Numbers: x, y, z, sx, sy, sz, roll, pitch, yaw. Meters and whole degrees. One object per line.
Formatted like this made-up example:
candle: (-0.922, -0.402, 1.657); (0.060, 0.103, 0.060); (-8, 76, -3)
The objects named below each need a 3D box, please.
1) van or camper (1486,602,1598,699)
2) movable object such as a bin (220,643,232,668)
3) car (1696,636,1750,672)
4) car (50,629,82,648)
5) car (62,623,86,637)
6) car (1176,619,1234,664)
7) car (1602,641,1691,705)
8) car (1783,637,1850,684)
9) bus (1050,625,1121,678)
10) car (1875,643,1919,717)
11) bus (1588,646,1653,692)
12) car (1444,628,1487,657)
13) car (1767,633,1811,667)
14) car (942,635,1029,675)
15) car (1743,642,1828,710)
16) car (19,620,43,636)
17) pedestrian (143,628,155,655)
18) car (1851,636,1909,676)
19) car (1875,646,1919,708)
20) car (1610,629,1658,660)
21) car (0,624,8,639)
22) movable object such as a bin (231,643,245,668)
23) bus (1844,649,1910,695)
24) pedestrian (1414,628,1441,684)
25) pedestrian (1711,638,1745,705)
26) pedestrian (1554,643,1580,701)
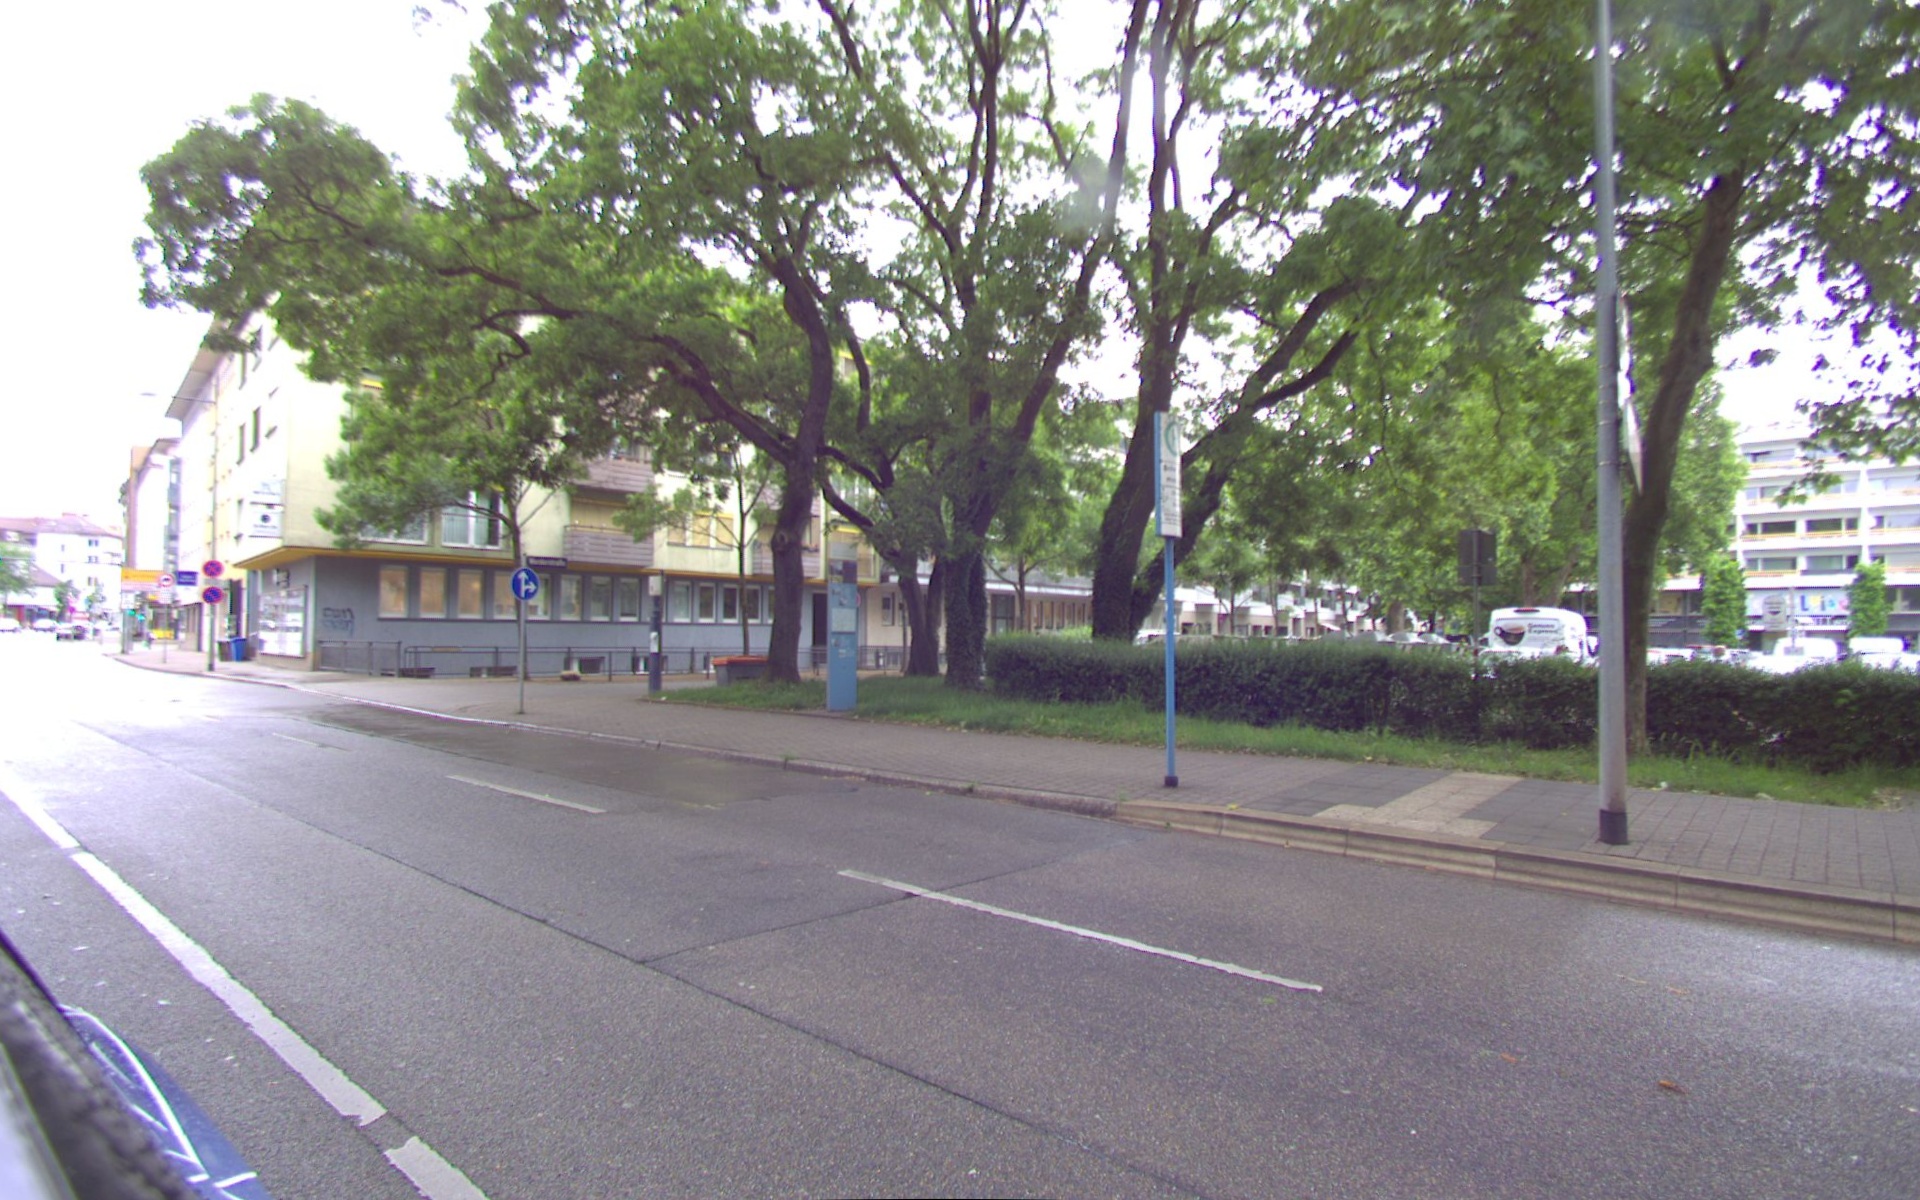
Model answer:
van or camper: (16.850, 1.441, 29.210); (2.097, 2.556, 4.367); (-1, -3, 40)
movable object such as a bin: (-30.237, 2.277, 41.673); (0.333, 1.037, 0.354); (3, -4, -42)
car: (35.724, 2.483, 47.362); (1.837, 1.435, 3.780); (-1, 0, 39)
car: (-82.279, 3.564, 93.141); (4.002, 1.730, 1.863); (-2, -4, 45)
car: (-109.513, 3.663, 125.094); (4.002, 1.670, 1.842); (-2, -4, 45)
car: (11.679, 1.970, 48.094); (1.988, 2.029, 3.967); (0, -3, 24)
car: (16.737, 1.744, 24.619); (1.391, 1.446, 3.227); (-2, -4, 41)
car: (28.178, 1.962, 33.351); (1.604, 1.439, 3.275); (-1, -3, 40)
bus: (4.841, 1.964, 38.687); (1.703, 1.939, 3.697); (0, -3, 24)
car: (19.933, 1.633, 20.943); (1.391, 1.446, 3.227); (-2, -4, 41)
bus: (24.160, 2.490, 36.972); (1.604, 1.551, 3.385); (-1, -3, 40)
car: (27.220, 2.288, 54.497); (1.428, 1.439, 2.926); (-2, -1, 40)
car: (41.989, 2.499, 51.300); (1.639, 1.536, 3.161); (-1, 0, 38)
car: (1.027, 2.151, 39.364); (1.571, 1.500, 3.519); (-1, -4, 39)
car: (19.242, 1.730, 23.564); (1.391, 1.446, 3.227); (-2, -4, 41)
car: (-112.890, 3.429, 122.970); (4.002, 1.866, 1.971); (-2, -4, 45)
pedestrian: (-56.399, 2.911, 70.373); (0.586, 1.858, 0.565); (3, -4, -42)
car: (40.244, 2.424, 44.318); (1.639, 1.536, 3.161); (-1, 0, 38)
car: (23.420, 1.874, 24.805); (1.391, 1.446, 3.227); (-2, -4, 41)
car: (32.469, 2.155, 48.729); (1.604, 1.439, 3.275); (-1, -3, 40)
car: (-107.560, 3.472, 112.760); (4.002, 1.653, 1.971); (-2, -4, 45)
movable object such as a bin: (-29.870, 2.283, 41.884); (0.409, 1.037, 0.354); (3, -4, -42)
bus: (33.161, 2.572, 36.656); (1.604, 1.551, 3.385); (-1, -3, 40)
pedestrian: (10.483, 1.252, 22.699); (0.484, 1.222, 0.433); (-1, 0, 34)
pedestrian: (14.526, 1.345, 19.142); (0.465, 1.222, 0.433); (-1, 0, 34)
pedestrian: (13.323, 1.568, 22.209); (0.465, 1.222, 0.433); (-1, 0, 34)
